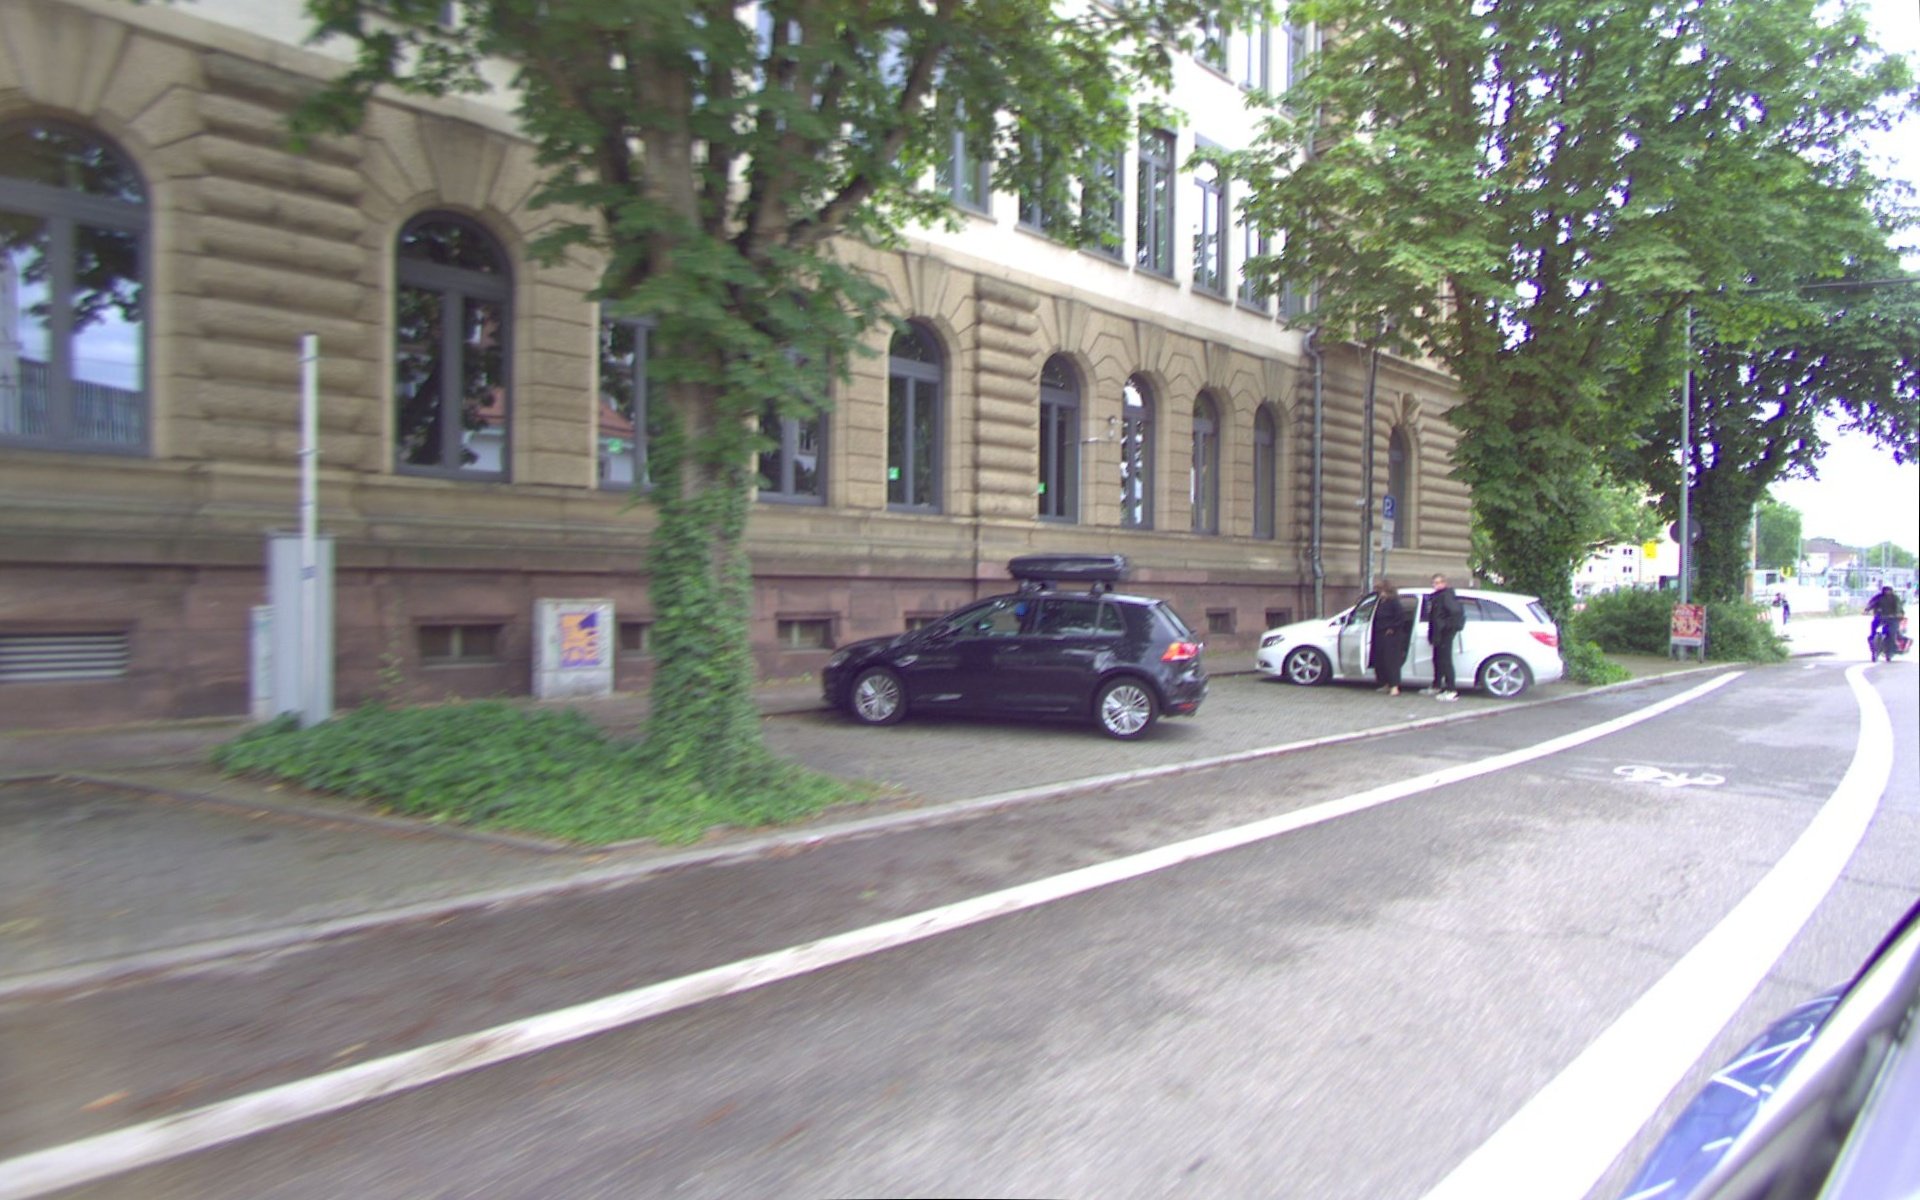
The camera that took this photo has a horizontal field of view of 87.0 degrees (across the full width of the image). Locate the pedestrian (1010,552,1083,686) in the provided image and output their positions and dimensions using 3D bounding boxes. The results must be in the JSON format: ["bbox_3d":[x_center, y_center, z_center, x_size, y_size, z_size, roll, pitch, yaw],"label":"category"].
[{"bbox_3d":[1.240,0.251,14.565,0.738,1.861,0.680,0,2,-41],"label":"pedestrian"}]

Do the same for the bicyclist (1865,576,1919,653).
[{"bbox_3d":[23.122,0.354,24.974,1.450,1.845,0.882,2,-1,-35],"label":"bicyclist"}]

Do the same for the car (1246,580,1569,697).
[{"bbox_3d":[6.727,0.504,15.492,4.284,1.571,1.734,1,0,27],"label":"car"}]

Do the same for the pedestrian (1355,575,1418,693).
[{"bbox_3d":[6.134,0.477,14.565,0.581,1.646,0.643,0,0,-38],"label":"pedestrian"}]

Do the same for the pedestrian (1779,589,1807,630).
[{"bbox_3d":[36.370,0.398,44.197,0.912,1.730,1.143,0,0,37],"label":"pedestrian"}]

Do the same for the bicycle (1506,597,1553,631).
[{"bbox_3d":[19.914,0.476,35.394,0.468,1.140,1.341,0,0,-38],"label":"bicycle"}]

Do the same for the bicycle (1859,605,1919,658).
[{"bbox_3d":[23.051,0.760,24.927,2.265,1.257,0.854,1,-1,-35],"label":"bicycle"}]

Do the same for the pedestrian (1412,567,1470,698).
[{"bbox_3d":[6.720,0.437,14.134,0.681,1.773,0.607,0,0,32],"label":"pedestrian"}]

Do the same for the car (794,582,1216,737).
[{"bbox_3d":[0.533,0.535,10.927,4.271,1.420,1.745,1,1,17],"label":"car"}]
